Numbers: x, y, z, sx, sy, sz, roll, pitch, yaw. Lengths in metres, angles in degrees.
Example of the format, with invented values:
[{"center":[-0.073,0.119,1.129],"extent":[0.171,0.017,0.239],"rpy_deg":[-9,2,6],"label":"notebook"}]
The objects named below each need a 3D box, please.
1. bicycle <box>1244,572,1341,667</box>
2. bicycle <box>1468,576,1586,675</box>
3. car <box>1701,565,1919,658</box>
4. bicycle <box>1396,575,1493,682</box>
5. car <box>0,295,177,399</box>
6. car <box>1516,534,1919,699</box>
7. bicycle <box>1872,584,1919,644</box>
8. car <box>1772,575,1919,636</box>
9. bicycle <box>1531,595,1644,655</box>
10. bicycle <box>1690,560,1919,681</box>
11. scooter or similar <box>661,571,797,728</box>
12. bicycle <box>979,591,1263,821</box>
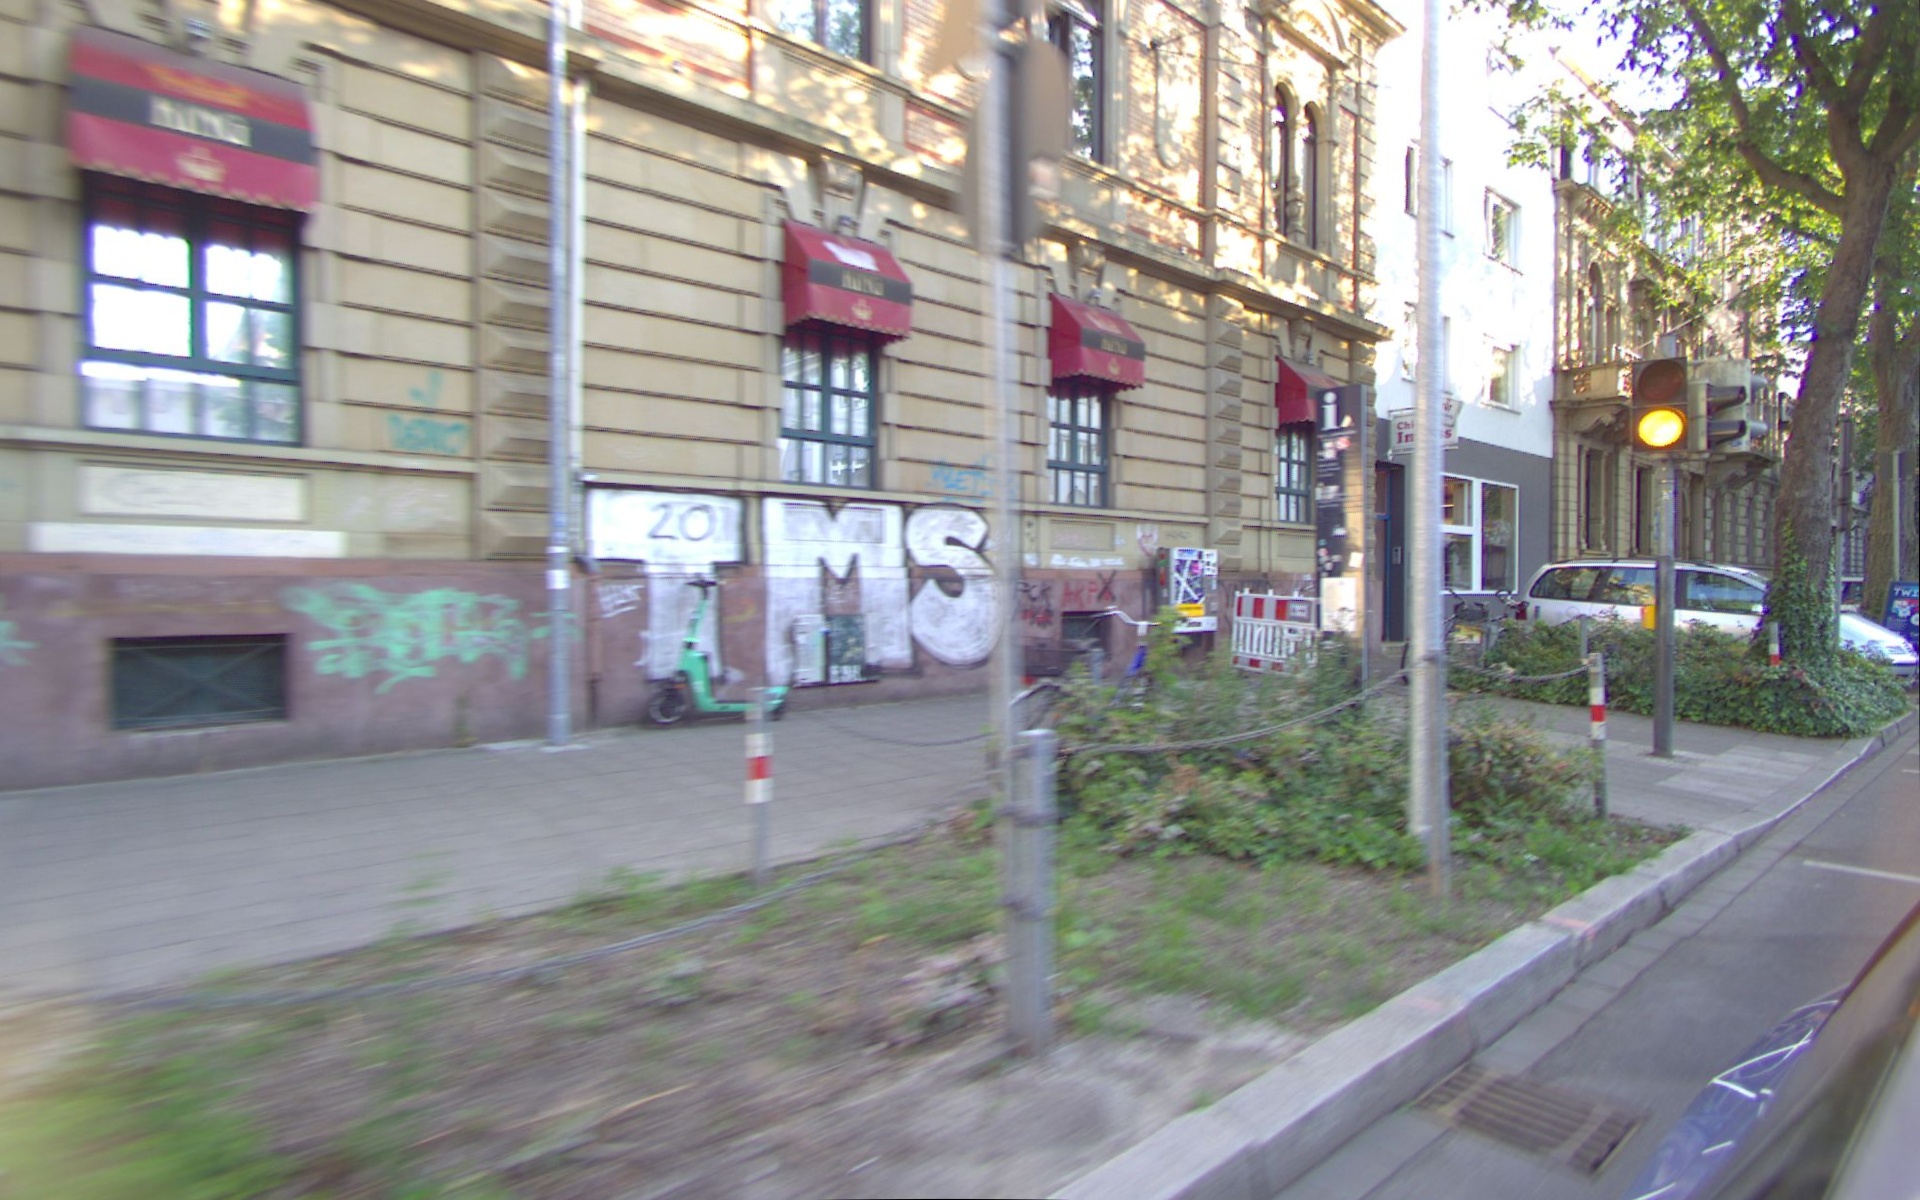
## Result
[{"center":[4.557,0.256,13.814],"extent":[1.694,1.226,0.386],"rpy_deg":[1,0,-39],"label":"bicycle"},{"center":[7.658,0.303,13.630],"extent":[2.120,1.254,0.582],"rpy_deg":[-1,1,-37],"label":"bicycle"},{"center":[16.480,0.171,18.599],"extent":[1.934,1.580,4.237],"rpy_deg":[0,2,-37],"label":"car"},{"center":[6.012,0.322,12.512],"extent":[1.694,1.250,0.386],"rpy_deg":[-1,1,-39],"label":"bicycle"},{"center":[-18.165,-4.983,20.182],"extent":[4.072,1.559,1.775],"rpy_deg":[1,1,10],"label":"car"},{"center":[10.532,0.117,14.057],"extent":[1.917,1.938,4.547],"rpy_deg":[-1,2,-42],"label":"car"},{"center":[20.441,0.317,21.104],"extent":[2.015,1.219,0.482],"rpy_deg":[3,3,38],"label":"bicycle"},{"center":[23.729,0.125,25.672],"extent":[1.890,1.455,4.595],"rpy_deg":[0,2,-38],"label":"car"},{"center":[8.089,0.292,12.991],"extent":[2.289,0.673,0.582],"rpy_deg":[-2,1,-41],"label":"bicycle"},{"center":[12.865,0.284,15.108],"extent":[0.647,1.684,3.115],"rpy_deg":[0,0,-44],"label":"bicycle"},{"center":[-1.868,0.383,8.245],"extent":[1.073,1.209,0.251],"rpy_deg":[0,0,-40],"label":"scooter or similar"},{"center":[1.068,0.539,6.198],"extent":[0.523,1.166,2.213],"rpy_deg":[1,1,45],"label":"bicycle"}]
